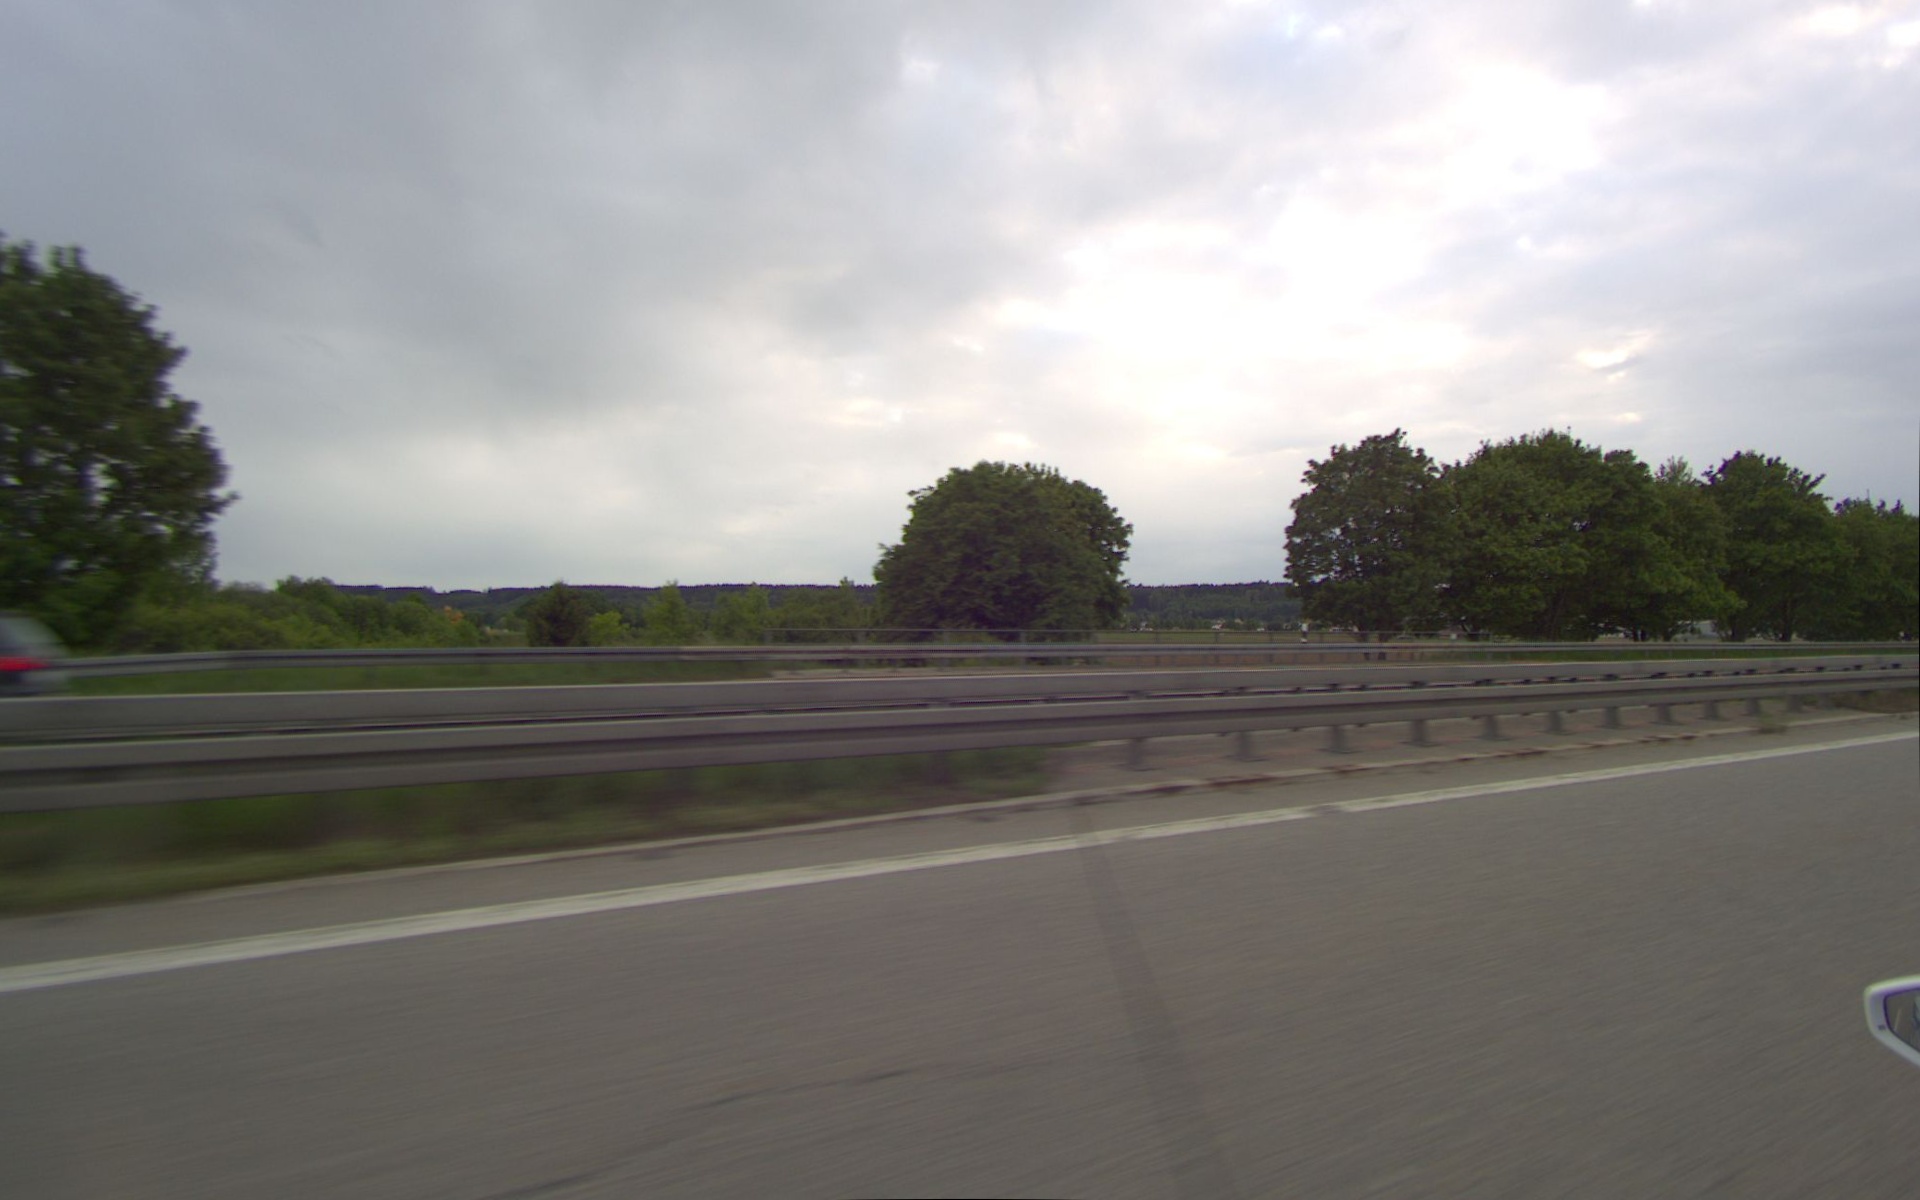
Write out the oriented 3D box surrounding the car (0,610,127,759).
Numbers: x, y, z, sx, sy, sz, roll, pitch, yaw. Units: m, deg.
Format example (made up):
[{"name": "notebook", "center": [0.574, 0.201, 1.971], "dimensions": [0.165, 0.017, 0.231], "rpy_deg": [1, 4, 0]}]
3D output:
[{"name": "car", "center": [-12.419, 0.912, 11.243], "dimensions": [4.472, 1.583, 1.808], "rpy_deg": [2, 1, -31]}]
